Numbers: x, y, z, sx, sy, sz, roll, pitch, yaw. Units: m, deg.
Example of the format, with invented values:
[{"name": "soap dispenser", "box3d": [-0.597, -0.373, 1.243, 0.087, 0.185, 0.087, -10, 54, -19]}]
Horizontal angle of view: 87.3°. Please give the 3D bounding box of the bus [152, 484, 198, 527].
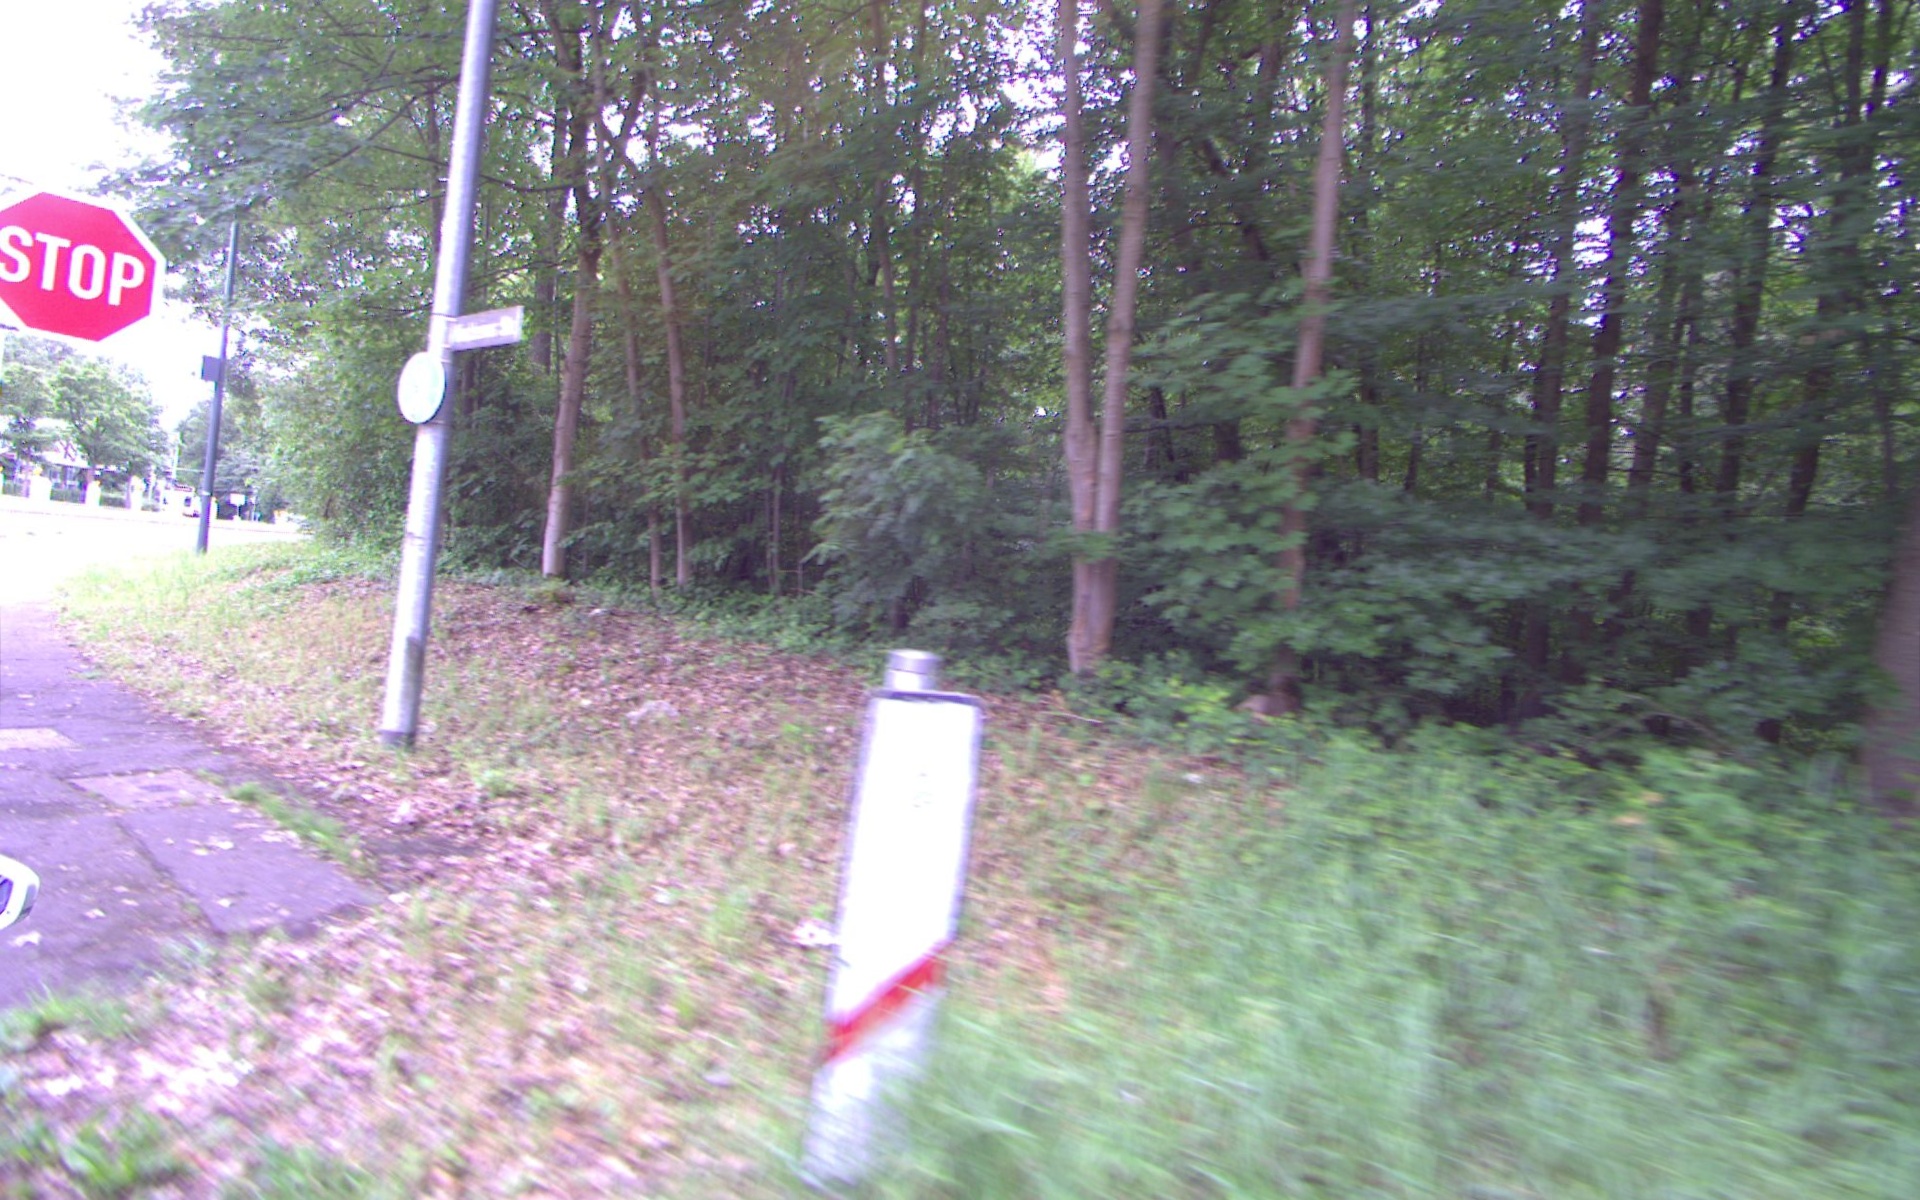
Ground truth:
[{"name": "bus", "box3d": [-78.841, -9.554, 100.917, 2.811, 3.648, 12.653, 7, 1, -41]}]
